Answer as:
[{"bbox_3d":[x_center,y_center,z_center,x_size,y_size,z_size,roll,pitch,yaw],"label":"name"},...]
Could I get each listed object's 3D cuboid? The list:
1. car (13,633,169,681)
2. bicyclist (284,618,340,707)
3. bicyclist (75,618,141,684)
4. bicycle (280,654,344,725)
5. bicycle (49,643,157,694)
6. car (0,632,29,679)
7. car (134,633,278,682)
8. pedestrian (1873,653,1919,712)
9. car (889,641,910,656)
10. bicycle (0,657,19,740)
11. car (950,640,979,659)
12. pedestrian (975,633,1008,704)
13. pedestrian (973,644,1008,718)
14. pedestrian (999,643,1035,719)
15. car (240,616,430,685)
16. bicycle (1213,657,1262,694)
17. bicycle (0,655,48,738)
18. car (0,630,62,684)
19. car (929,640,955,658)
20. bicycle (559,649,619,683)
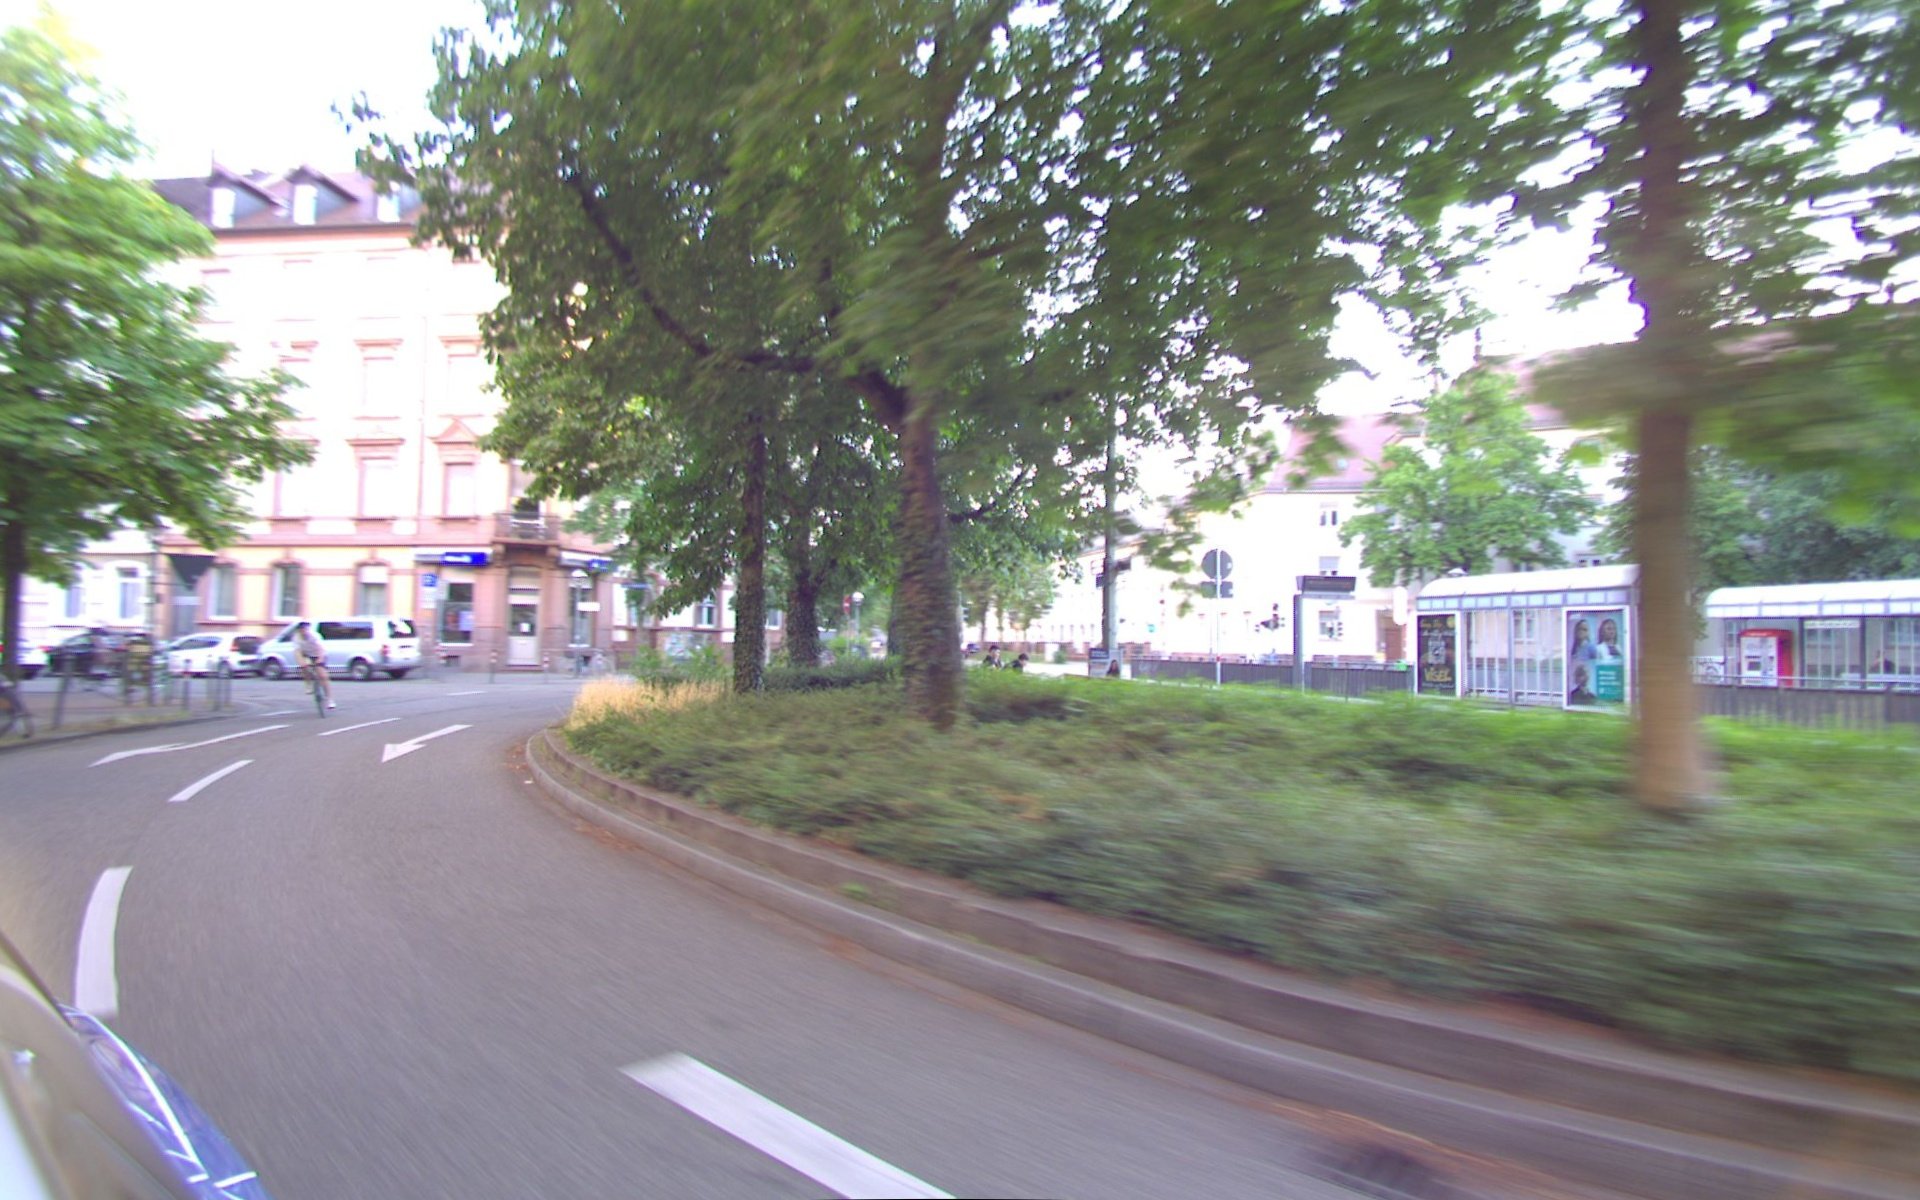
[{"bbox_3d":[-28.362,1.841,33.083,3.692,1.503,1.733,0,-1,3],"label":"car"},{"bbox_3d":[-11.385,1.089,17.798,0.674,1.524,0.976,1,-3,-26],"label":"bicyclist"},{"bbox_3d":[-19.998,1.186,23.762,0.961,1.524,0.685,0,-3,8],"label":"bicyclist"},{"bbox_3d":[-11.502,1.554,18.014,0.674,1.160,2.122,1,-3,-25],"label":"bicycle"},{"bbox_3d":[-20.108,1.599,23.754,2.090,1.160,0.685,0,-3,8],"label":"bicycle"},{"bbox_3d":[-34.022,1.854,33.631,4.740,1.537,1.842,0,-1,4],"label":"car"},{"bbox_3d":[-24.544,1.855,32.986,3.569,1.503,1.686,0,-1,6],"label":"car"},{"bbox_3d":[34.556,3.033,37.351,1.056,2.102,1.003,-1,-3,30],"label":"pedestrian"},{"bbox_3d":[-7.767,6.203,129.642,1.878,1.864,4.011,2,-3,-15],"label":"car"},{"bbox_3d":[-13.084,1.230,12.687,1.867,1.047,0.433,1,-3,-14],"label":"bicycle"},{"bbox_3d":[0.450,4.929,100.667,1.878,1.864,4.011,2,-3,-15],"label":"car"},{"bbox_3d":[0.656,1.410,20.989,0.648,1.442,0.616,0,-3,8],"label":"pedestrian"},{"bbox_3d":[0.626,1.614,20.338,0.648,1.442,0.616,0,-3,8],"label":"pedestrian"},{"bbox_3d":[1.112,1.564,19.630,0.648,1.442,0.616,0,-3,8],"label":"pedestrian"},{"bbox_3d":[-19.745,1.563,32.057,4.945,2.072,2.043,0,-1,7],"label":"car"},{"bbox_3d":[8.301,2.246,30.377,0.537,1.059,1.860,1,-3,-15],"label":"bicycle"},{"bbox_3d":[-12.920,1.242,13.114,1.580,1.047,0.433,1,-3,-14],"label":"bicycle"},{"bbox_3d":[-29.488,1.650,29.740,4.785,1.528,1.995,0,-3,8],"label":"car"},{"bbox_3d":[-1.958,5.263,109.255,1.878,1.864,4.011,2,-3,-15],"label":"car"},{"bbox_3d":[-12.272,2.191,33.526,1.770,1.091,0.561,1,-2,-6],"label":"bicycle"}]
